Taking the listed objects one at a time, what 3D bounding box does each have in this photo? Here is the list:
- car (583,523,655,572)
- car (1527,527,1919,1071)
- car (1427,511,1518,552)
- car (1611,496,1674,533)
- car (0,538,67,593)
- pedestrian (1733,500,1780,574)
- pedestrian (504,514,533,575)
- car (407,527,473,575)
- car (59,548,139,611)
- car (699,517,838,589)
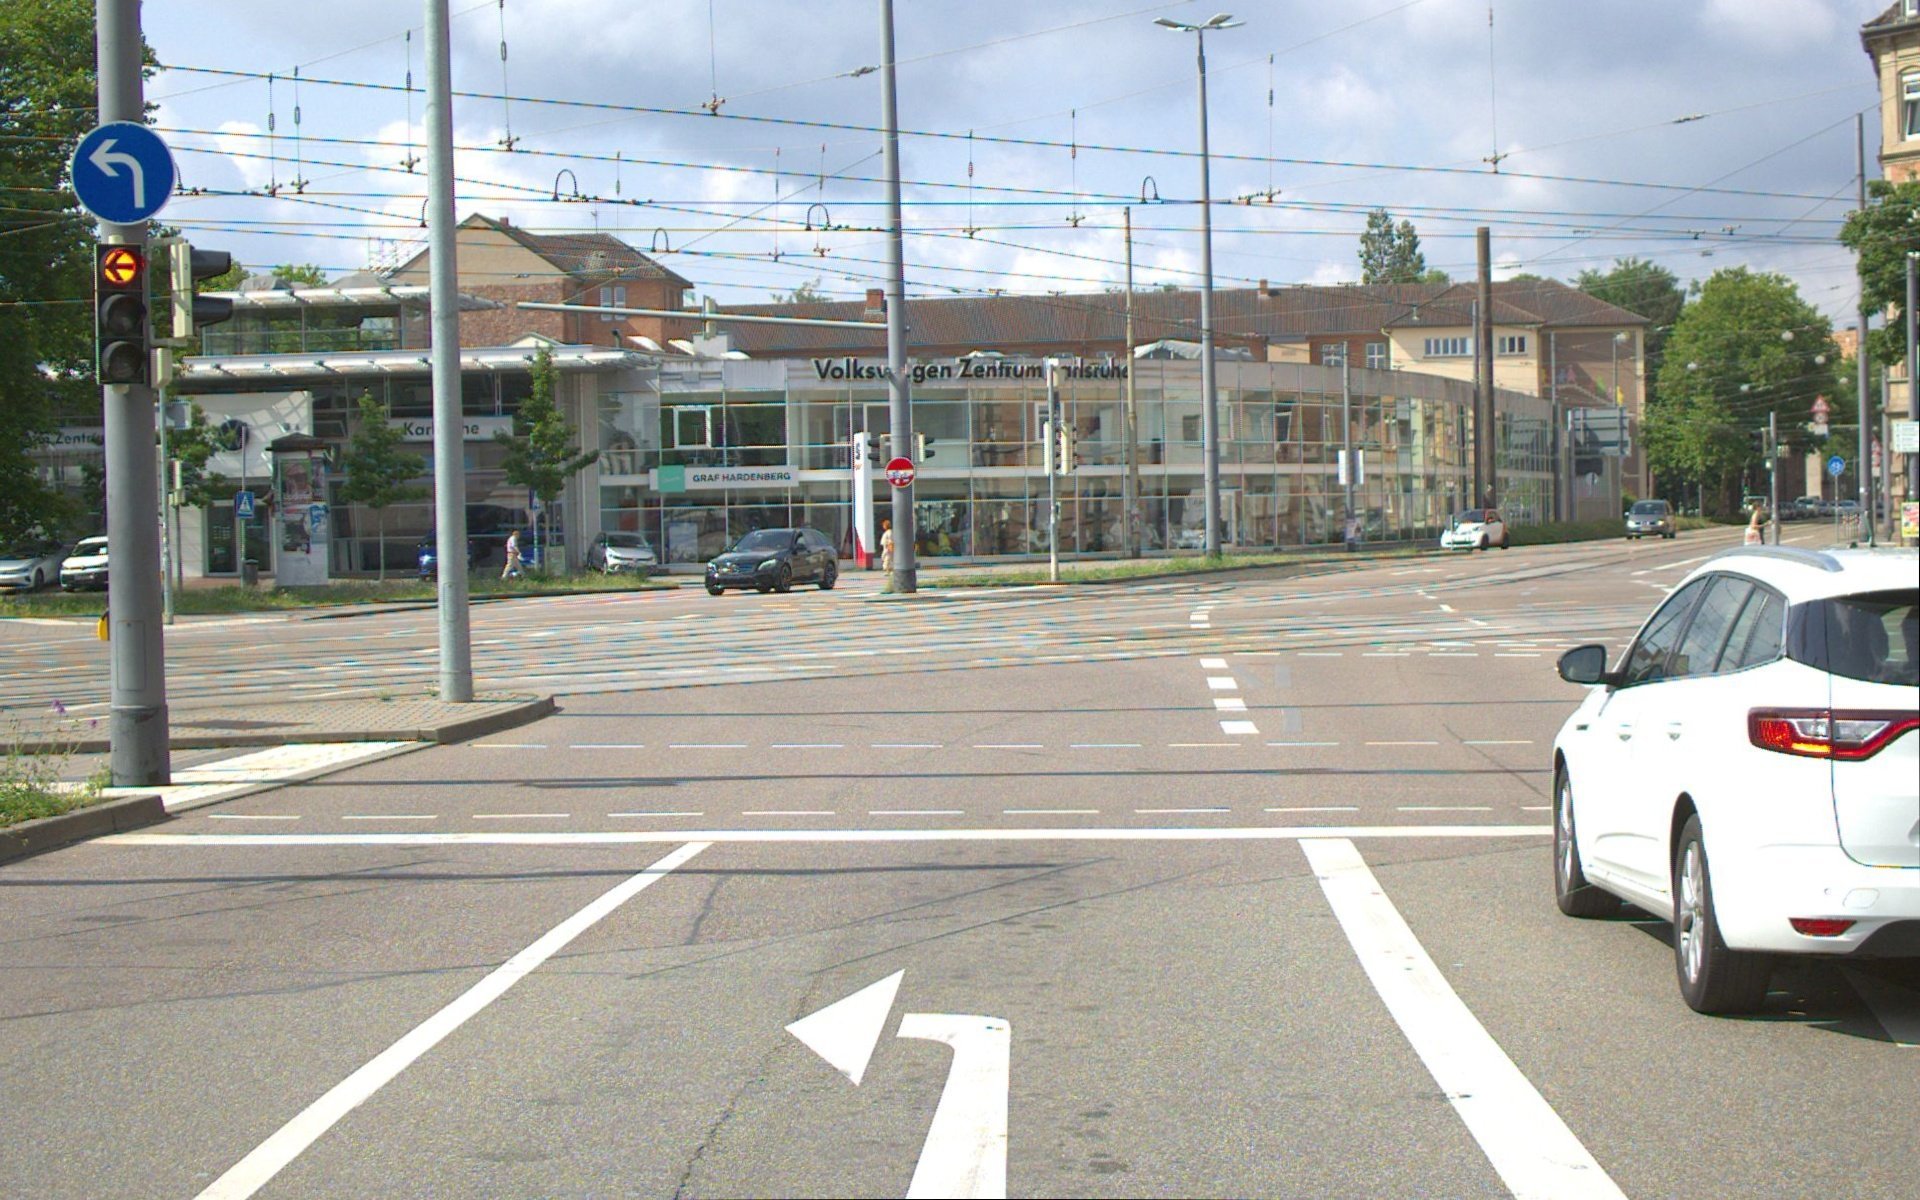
[{"bbox_3d":[-11.439,-1.775,115.057,1.993,1.590,4.001,-1,1,-11],"label":"car"},{"bbox_3d":[3.163,0.507,11.722,1.848,1.467,4.335,-2,1,2],"label":"car"},{"bbox_3d":[19.106,-2.568,127.979,1.997,1.437,3.994,0,2,30],"label":"car"},{"bbox_3d":[29.815,-3.740,150.035,1.996,1.568,3.996,-1,1,22],"label":"car"},{"bbox_3d":[-31.178,-1.181,115.254,1.797,1.763,4.001,-1,1,-6],"label":"car"},{"bbox_3d":[16.751,-1.330,72.344,0.673,1.530,0.674,-2,2,-39],"label":"pedestrian"},{"bbox_3d":[-14.294,-1.802,111.312,0.881,1.941,0.888,-1,1,-9],"label":"pedestrian"},{"bbox_3d":[-17.203,-1.635,113.881,1.993,1.546,4.079,-1,1,-7],"label":"car"},{"bbox_3d":[-28.792,-0.716,115.098,1.993,2.007,4.001,-1,1,-6],"label":"car"},{"bbox_3d":[-4.270,-1.067,77.294,1.995,1.525,3.998,-1,1,14],"label":"car"}]
